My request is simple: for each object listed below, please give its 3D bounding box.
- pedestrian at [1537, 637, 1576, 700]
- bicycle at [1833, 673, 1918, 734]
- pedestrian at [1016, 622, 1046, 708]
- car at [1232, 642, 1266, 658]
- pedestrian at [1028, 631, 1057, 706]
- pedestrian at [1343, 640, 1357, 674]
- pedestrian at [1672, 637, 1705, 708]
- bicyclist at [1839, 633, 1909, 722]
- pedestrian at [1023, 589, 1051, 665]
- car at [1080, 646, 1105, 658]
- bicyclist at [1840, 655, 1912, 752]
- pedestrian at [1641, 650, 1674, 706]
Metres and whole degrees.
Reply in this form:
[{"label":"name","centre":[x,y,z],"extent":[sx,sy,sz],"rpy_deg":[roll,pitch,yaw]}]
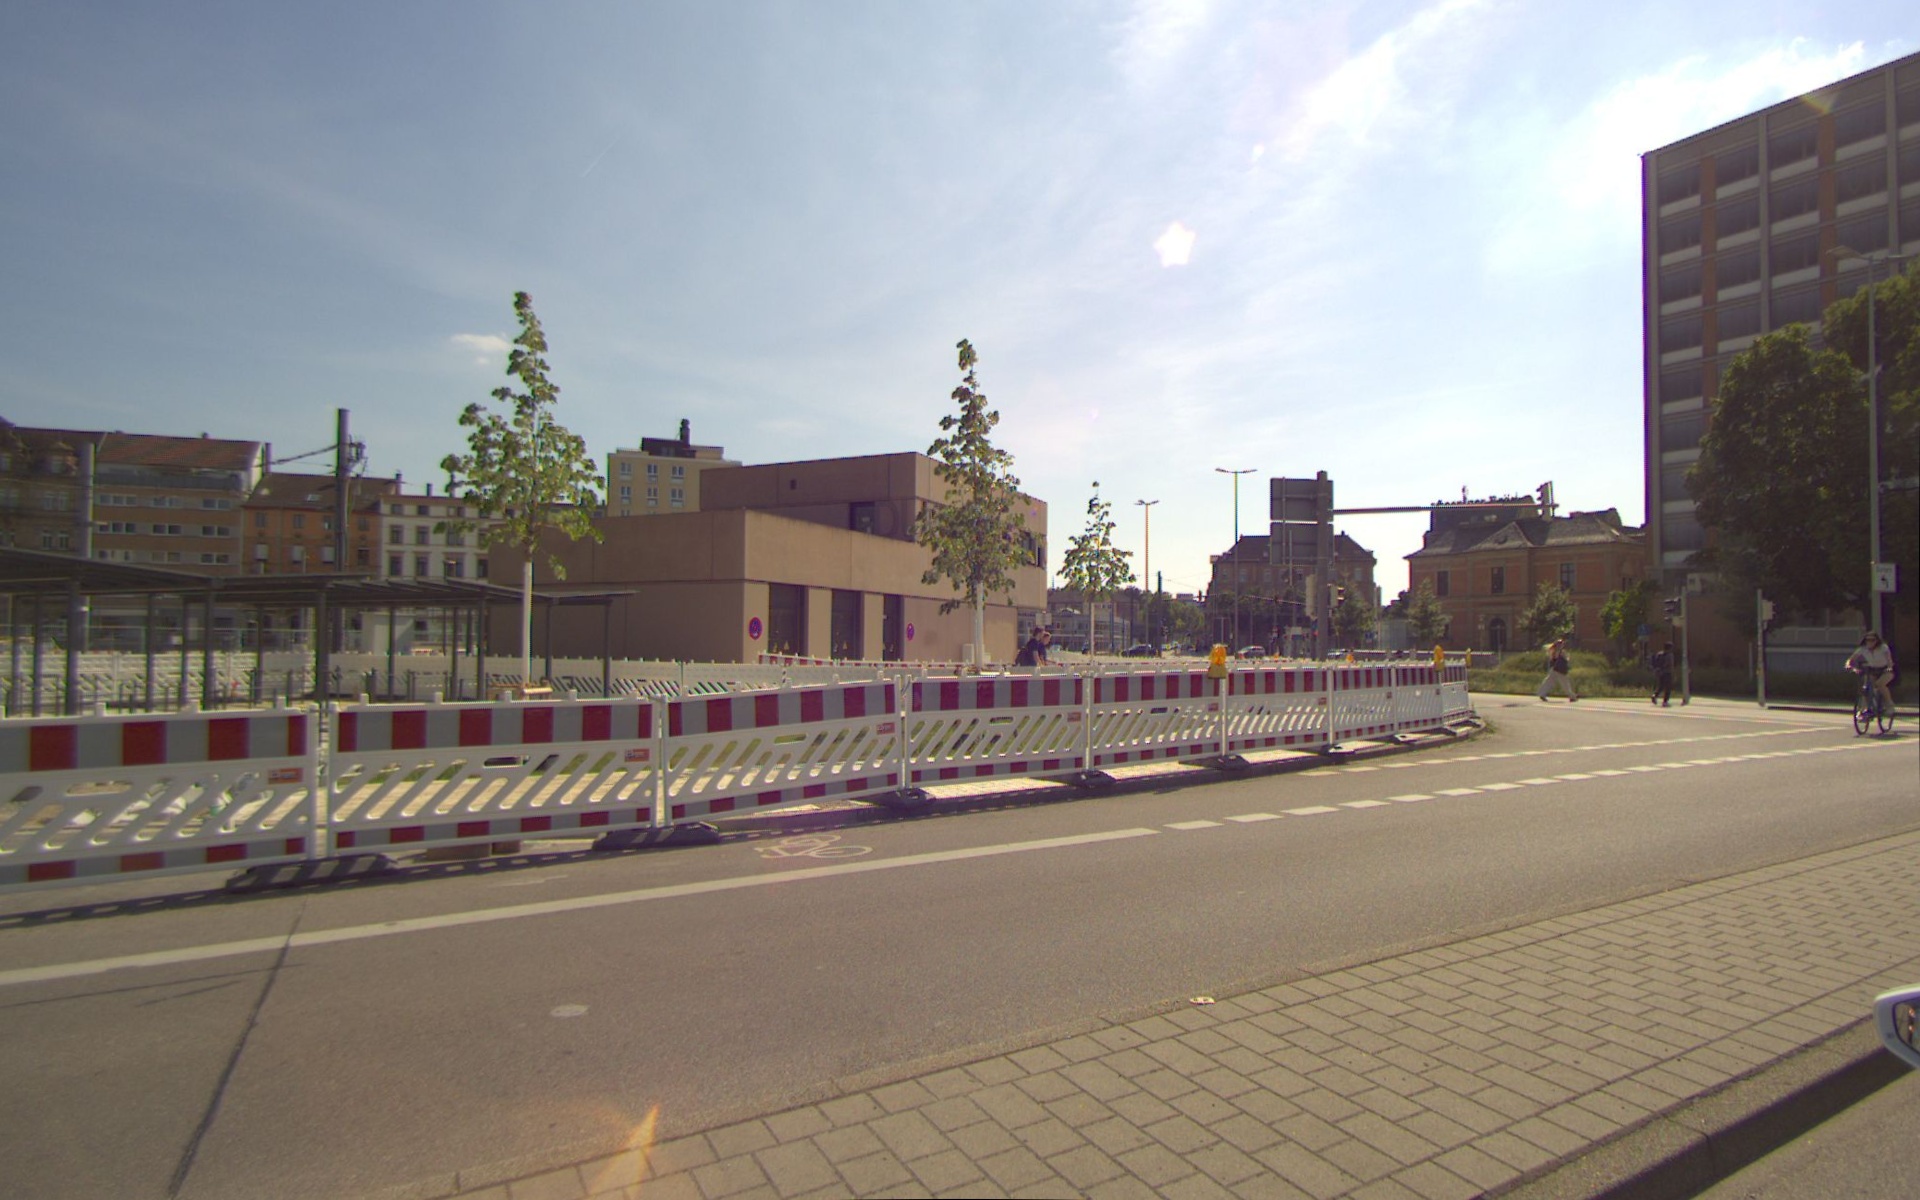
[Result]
[{"label":"pedestrian","centre":[17.129,1.981,28.854],"extent":[0.728,1.775,1.104],"rpy_deg":[-2,-5,44]},{"label":"bicycle","centre":[15.589,1.741,17.099],"extent":[1.948,0.973,0.615],"rpy_deg":[2,-5,-35]},{"label":"pedestrian","centre":[1.619,1.471,22.781],"extent":[0.595,1.940,0.441],"rpy_deg":[1,-2,-9]},{"label":"car","centre":[36.169,6.259,125.670],"extent":[3.953,2.040,1.985],"rpy_deg":[2,-3,-30]},{"label":"pedestrian","centre":[1.939,1.607,23.578],"extent":[0.559,1.731,0.539],"rpy_deg":[1,-2,-9]},{"label":"pedestrian","centre":[23.524,3.443,60.614],"extent":[0.517,2.040,0.622],"rpy_deg":[2,-3,-34]},{"label":"pedestrian","centre":[21.598,2.130,29.807],"extent":[0.604,2.040,0.687],"rpy_deg":[2,-1,23]},{"label":"bicyclist","centre":[15.582,1.312,17.128],"extent":[0.911,1.462,0.615],"rpy_deg":[2,-5,-35]},{"label":"pedestrian","centre":[1.862,0.661,24.215],"extent":[0.559,1.801,0.544],"rpy_deg":[1,-2,-9]},{"label":"car","centre":[19.833,7.819,150.732],"extent":[3.973,1.739,1.630],"rpy_deg":[3,-4,-44]},{"label":"bicyclist","centre":[15.589,1.741,17.099],"extent":[1.004,1.602,0.615],"rpy_deg":[2,-5,-35]},{"label":"pedestrian","centre":[19.231,2.125,27.686],"extent":[0.624,1.511,0.613],"rpy_deg":[-2,-3,44]}]
